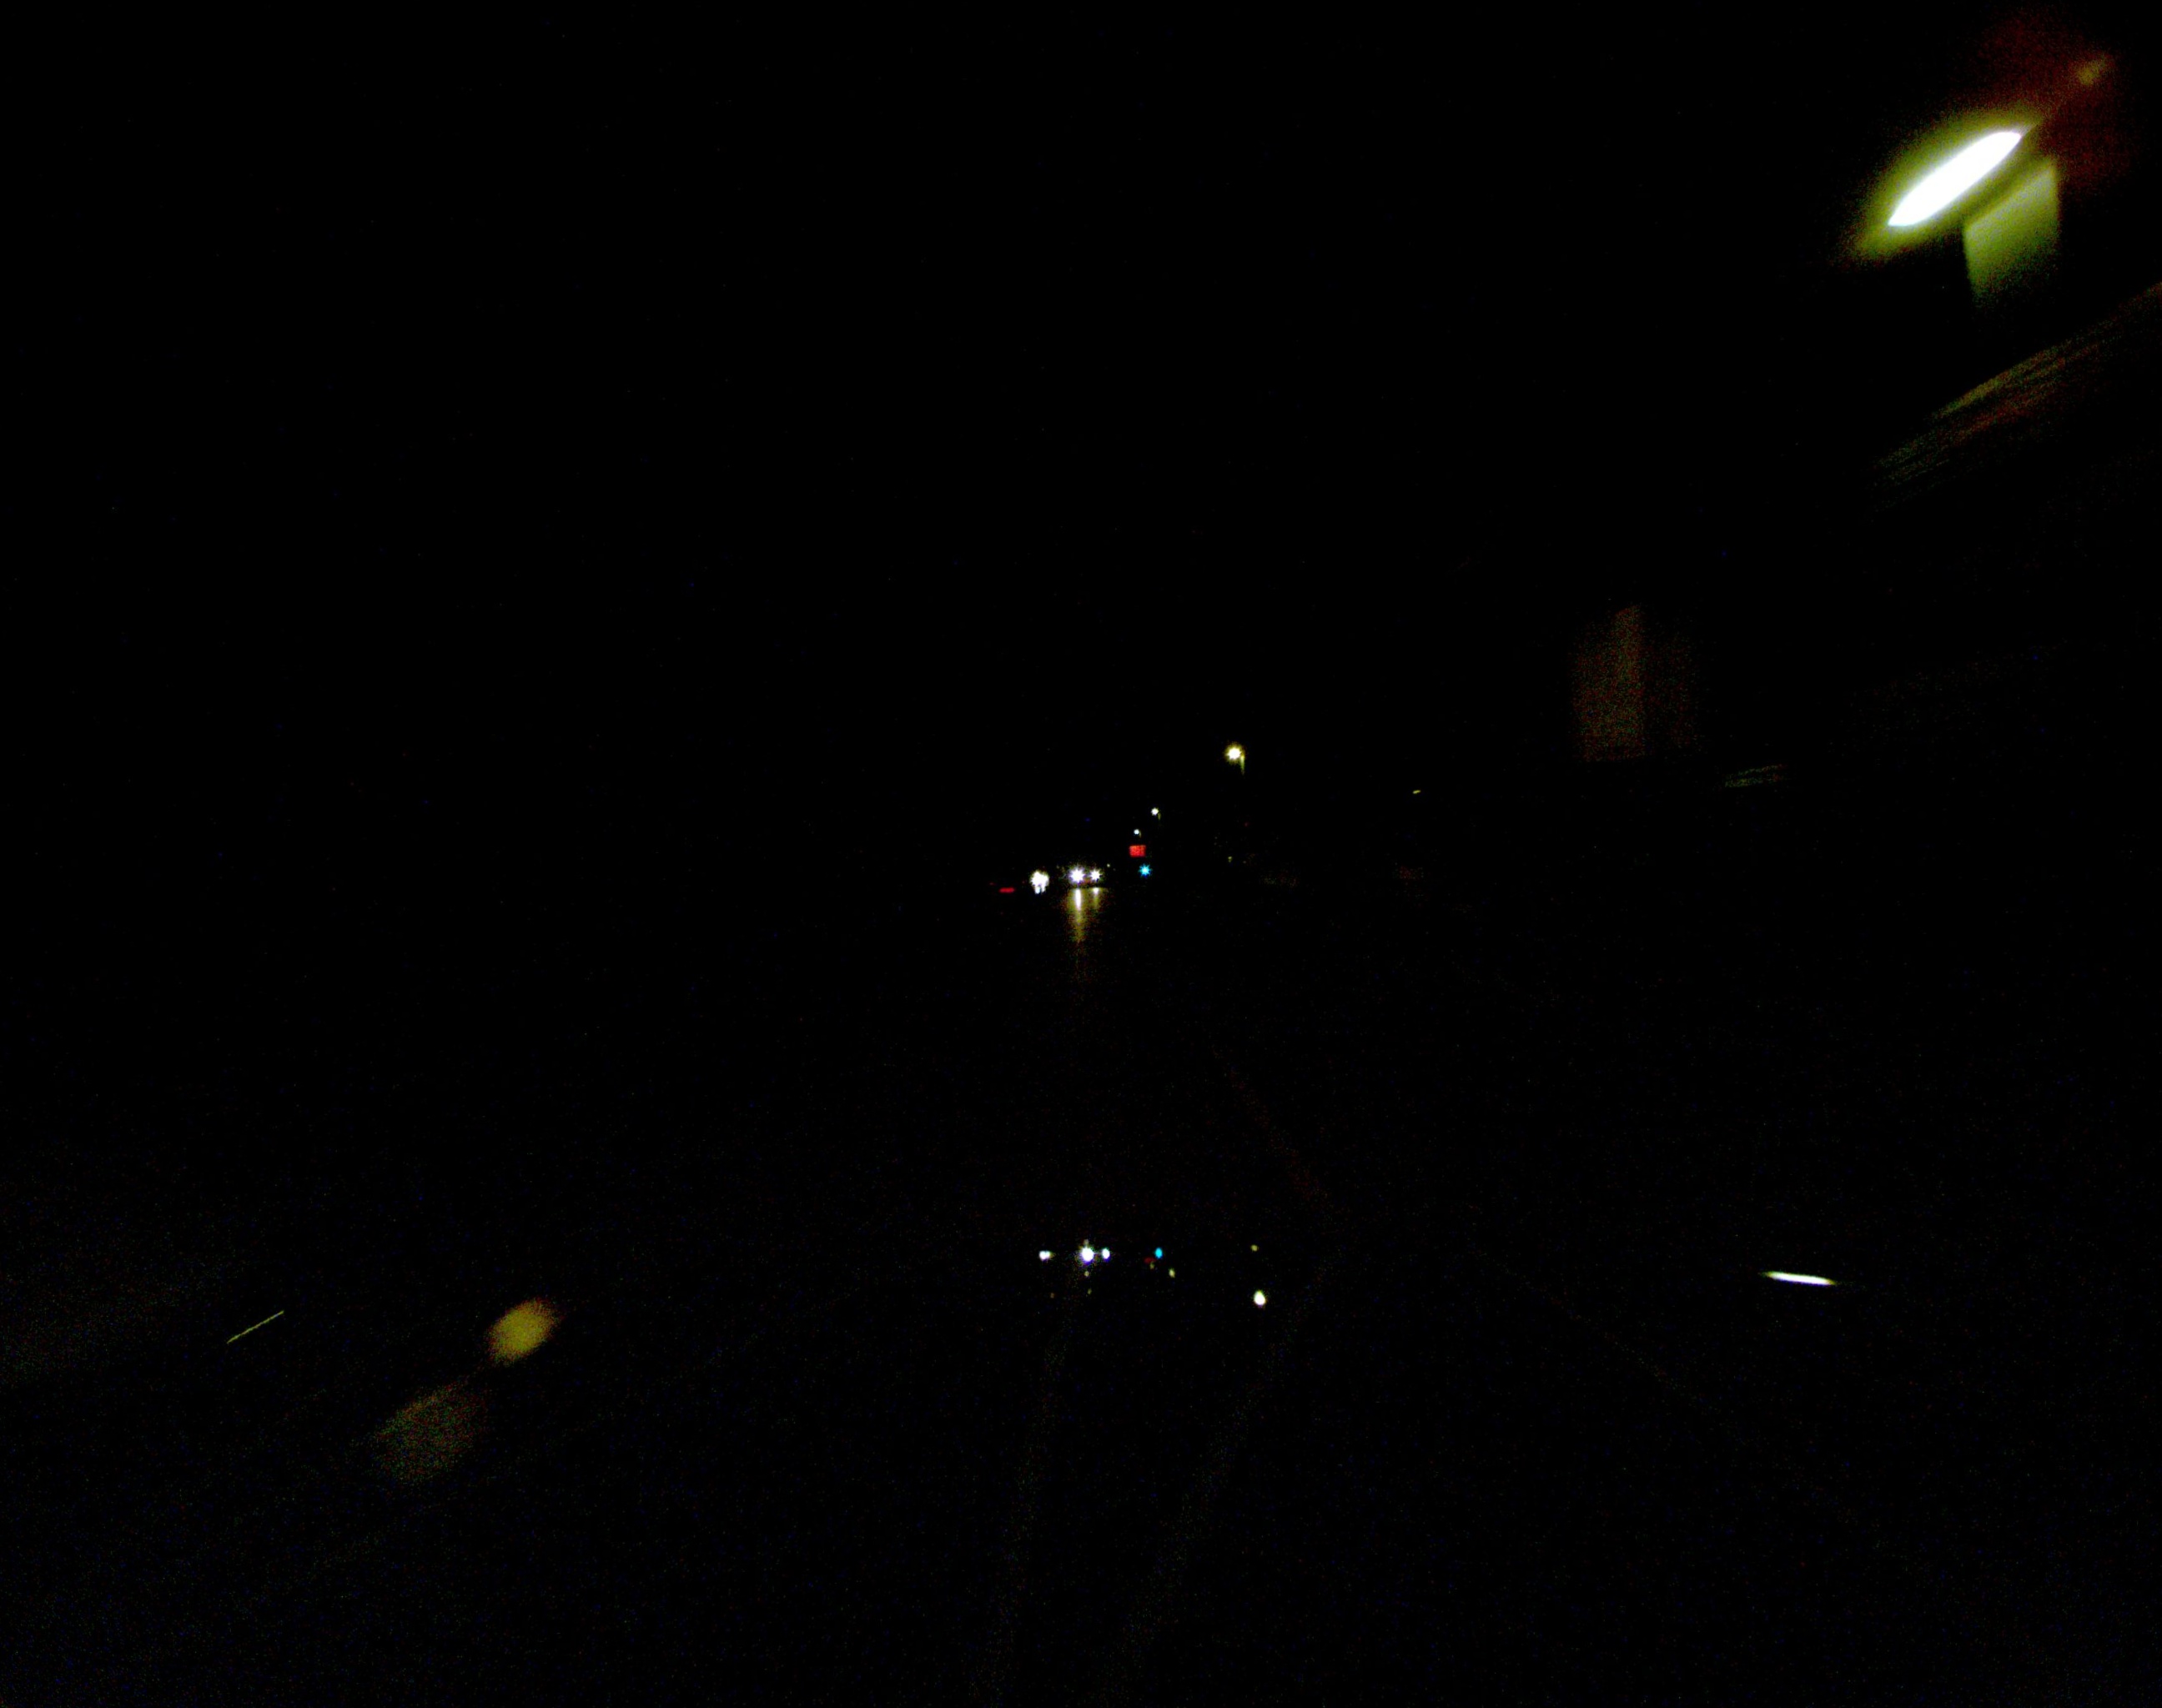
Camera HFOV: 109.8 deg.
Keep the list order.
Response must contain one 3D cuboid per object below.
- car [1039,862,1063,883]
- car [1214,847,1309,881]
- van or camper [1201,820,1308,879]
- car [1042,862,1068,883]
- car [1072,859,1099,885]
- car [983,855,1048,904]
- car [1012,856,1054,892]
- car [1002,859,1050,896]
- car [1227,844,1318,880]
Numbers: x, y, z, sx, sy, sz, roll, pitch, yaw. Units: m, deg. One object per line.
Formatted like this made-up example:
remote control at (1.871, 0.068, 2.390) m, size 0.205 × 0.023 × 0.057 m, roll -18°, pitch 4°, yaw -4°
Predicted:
car at (-2.252, 1.426, 57.877) m, size 1.613 × 1.452 × 3.718 m, roll 0°, pitch -3°, yaw 1°
car at (9.255, 0.512, 39.278) m, size 4.427 × 1.604 × 2.065 m, roll -2°, pitch 0°, yaw 2°
van or camper at (9.763, -0.244, 43.022) m, size 5.416 × 3.093 × 2.131 m, roll -2°, pitch 1°, yaw -9°
car at (-2.079, 1.489, 62.384) m, size 1.759 × 1.584 × 4.730 m, roll -3°, pitch -1°, yaw 2°
car at (0.313, 1.083, 45.722) m, size 1.513 × 1.492 × 3.051 m, roll -1°, pitch -2°, yaw 2°
car at (-2.451, 0.907, 29.484) m, size 1.836 × 1.654 × 4.619 m, roll -2°, pitch 0°, yaw 3°
car at (-2.513, 1.050, 40.622) m, size 1.723 × 1.750 × 4.759 m, roll -3°, pitch -1°, yaw 1°
car at (-2.477, 1.046, 35.110) m, size 1.748 × 1.462 × 4.257 m, roll -4°, pitch -1°, yaw 0°
car at (9.133, 0.413, 36.452) m, size 3.820 × 1.545 × 1.928 m, roll -2°, pitch -2°, yaw 0°
